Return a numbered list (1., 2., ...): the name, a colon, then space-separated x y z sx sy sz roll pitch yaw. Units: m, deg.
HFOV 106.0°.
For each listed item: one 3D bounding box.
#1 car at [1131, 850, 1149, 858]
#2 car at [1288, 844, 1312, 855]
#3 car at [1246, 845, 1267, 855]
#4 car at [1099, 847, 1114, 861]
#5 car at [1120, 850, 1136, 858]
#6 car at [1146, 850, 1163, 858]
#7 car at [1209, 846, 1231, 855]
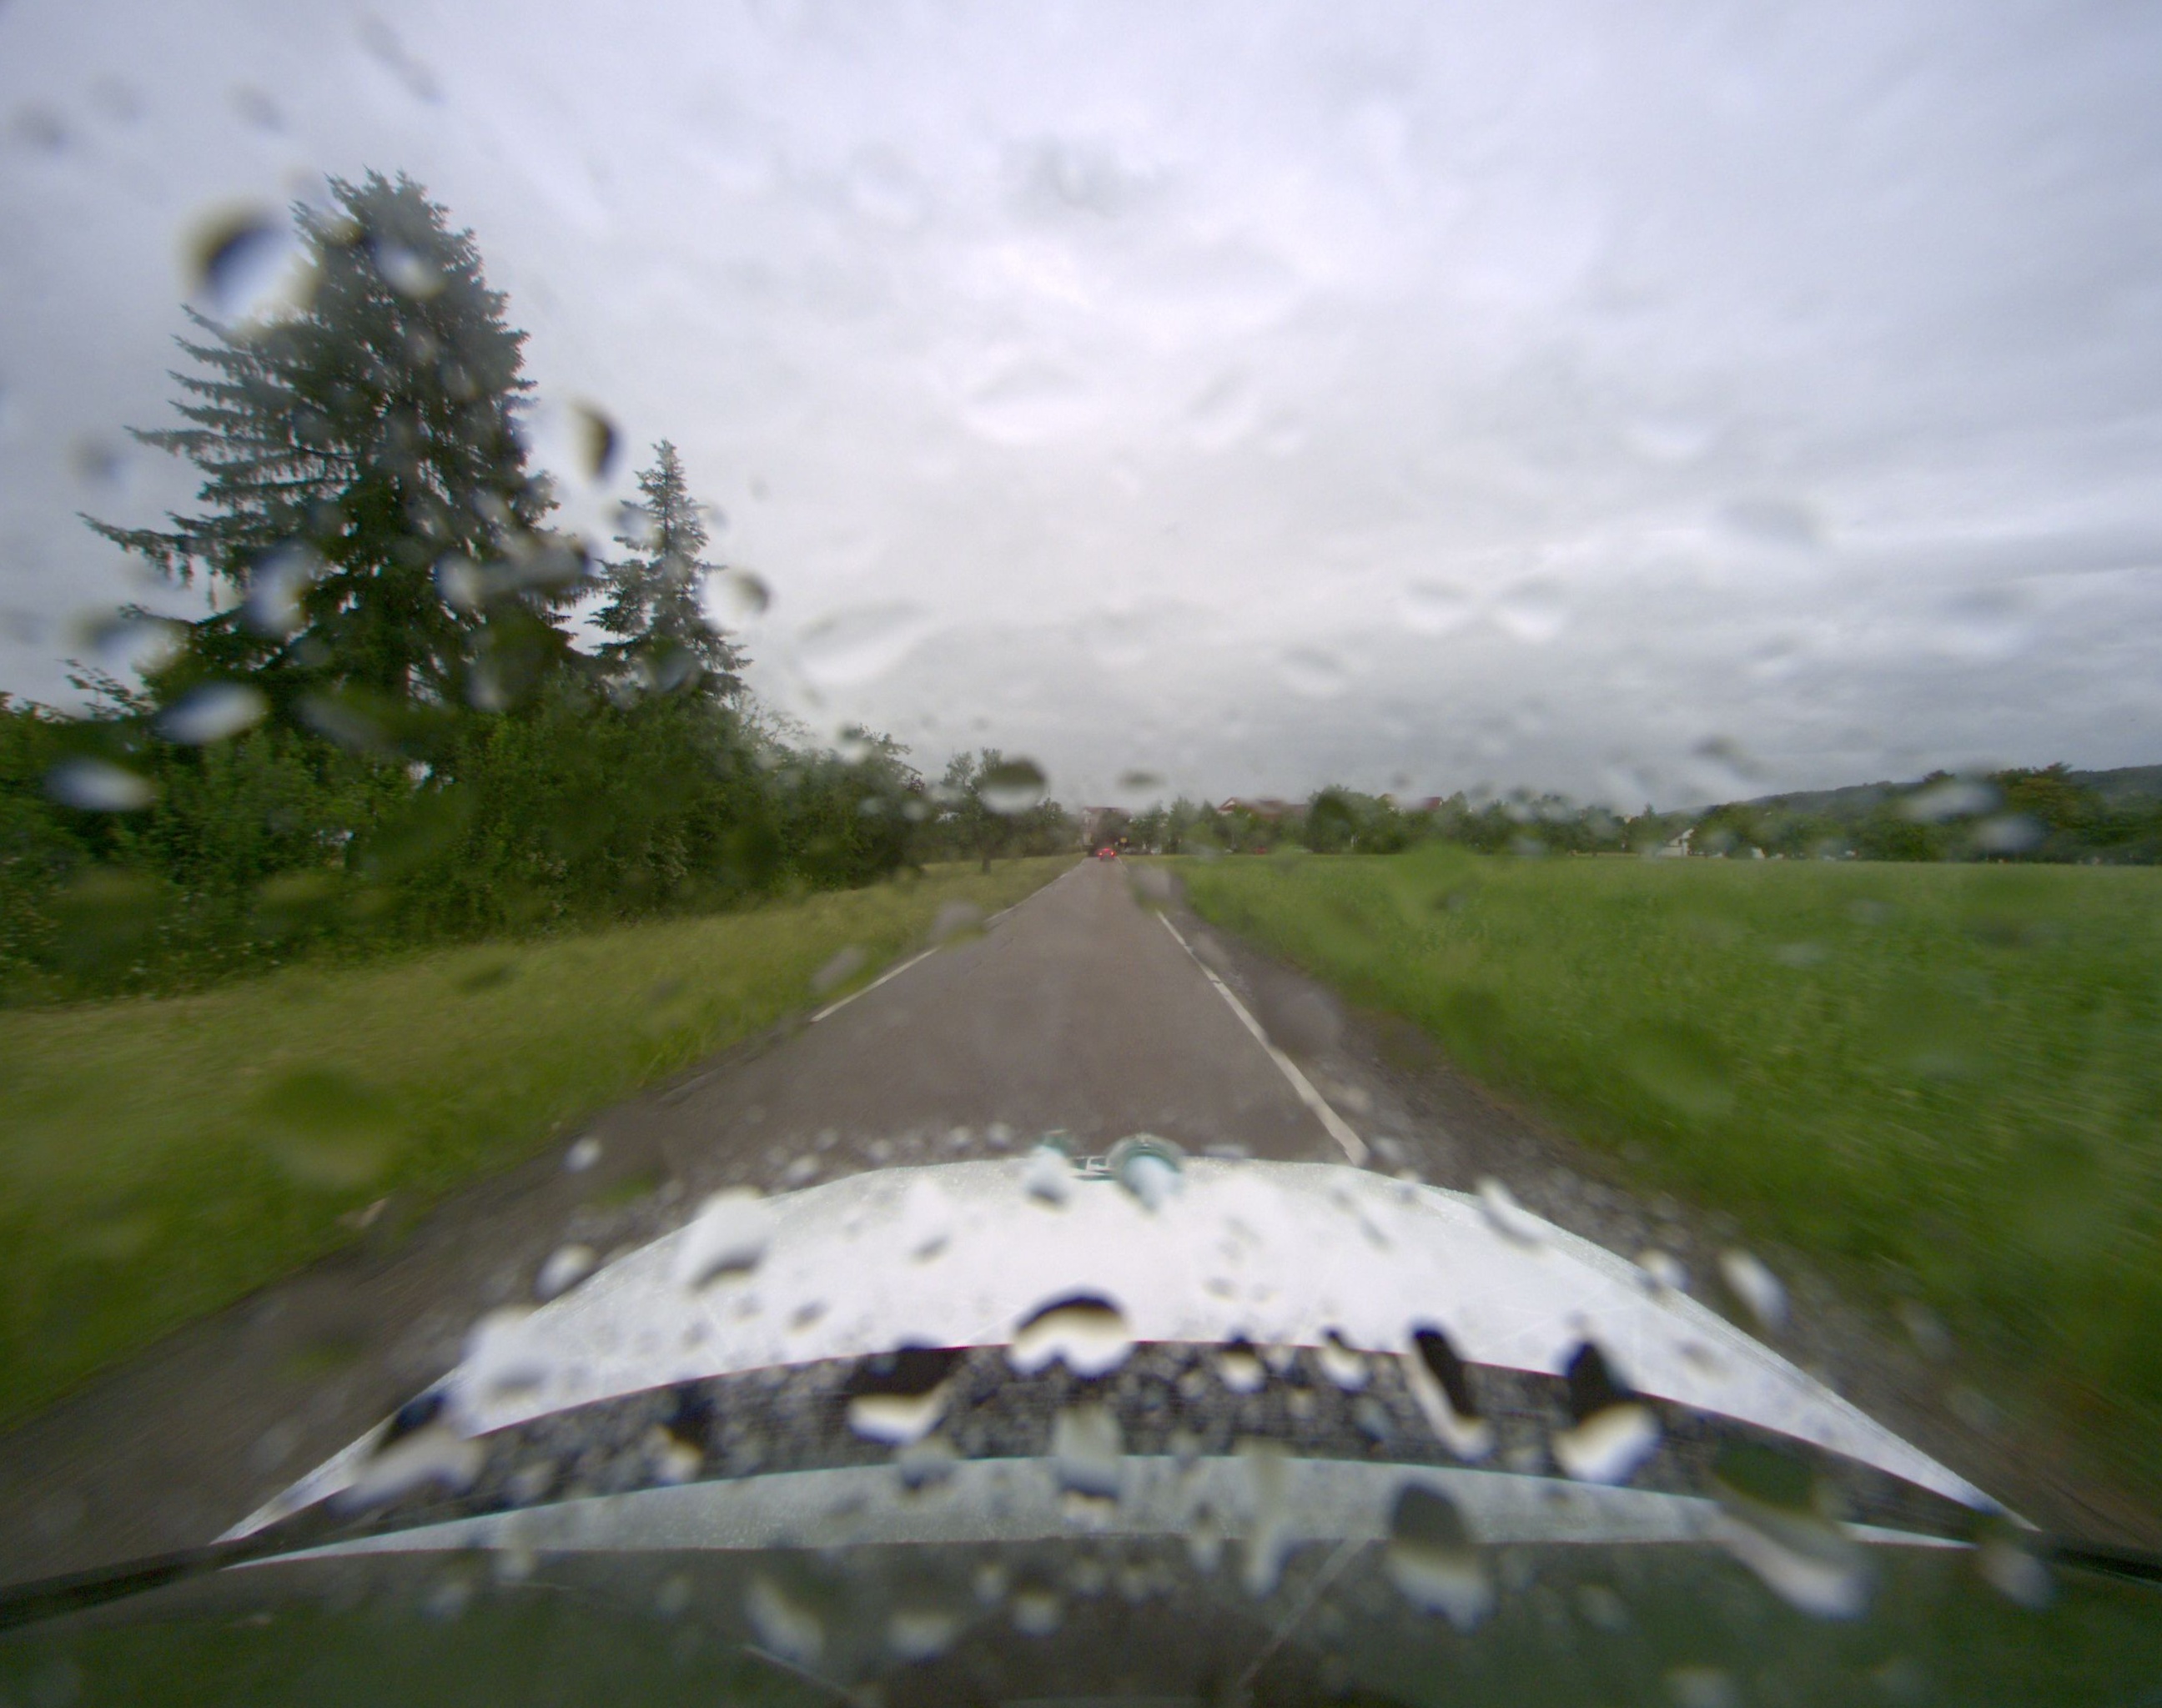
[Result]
1. car: 12.022 -0.051 165.198 1.645 1.546 4.025 -2 -1 37
2. car: 34.424 -0.747 128.031 3.682 1.564 1.617 -1 -1 15
3. car: 27.911 -0.631 129.828 3.169 1.371 1.578 -1 -1 15
4. car: 3.159 -0.030 99.703 1.807 1.594 4.003 -1 -1 3
5. car: 9.261 -0.051 160.633 1.645 1.546 4.023 -2 -1 26
6. car: 15.220 -0.018 169.373 1.645 1.546 4.025 -2 -1 37
7. car: 22.375 -0.612 131.414 3.365 1.371 1.554 -1 -1 15
